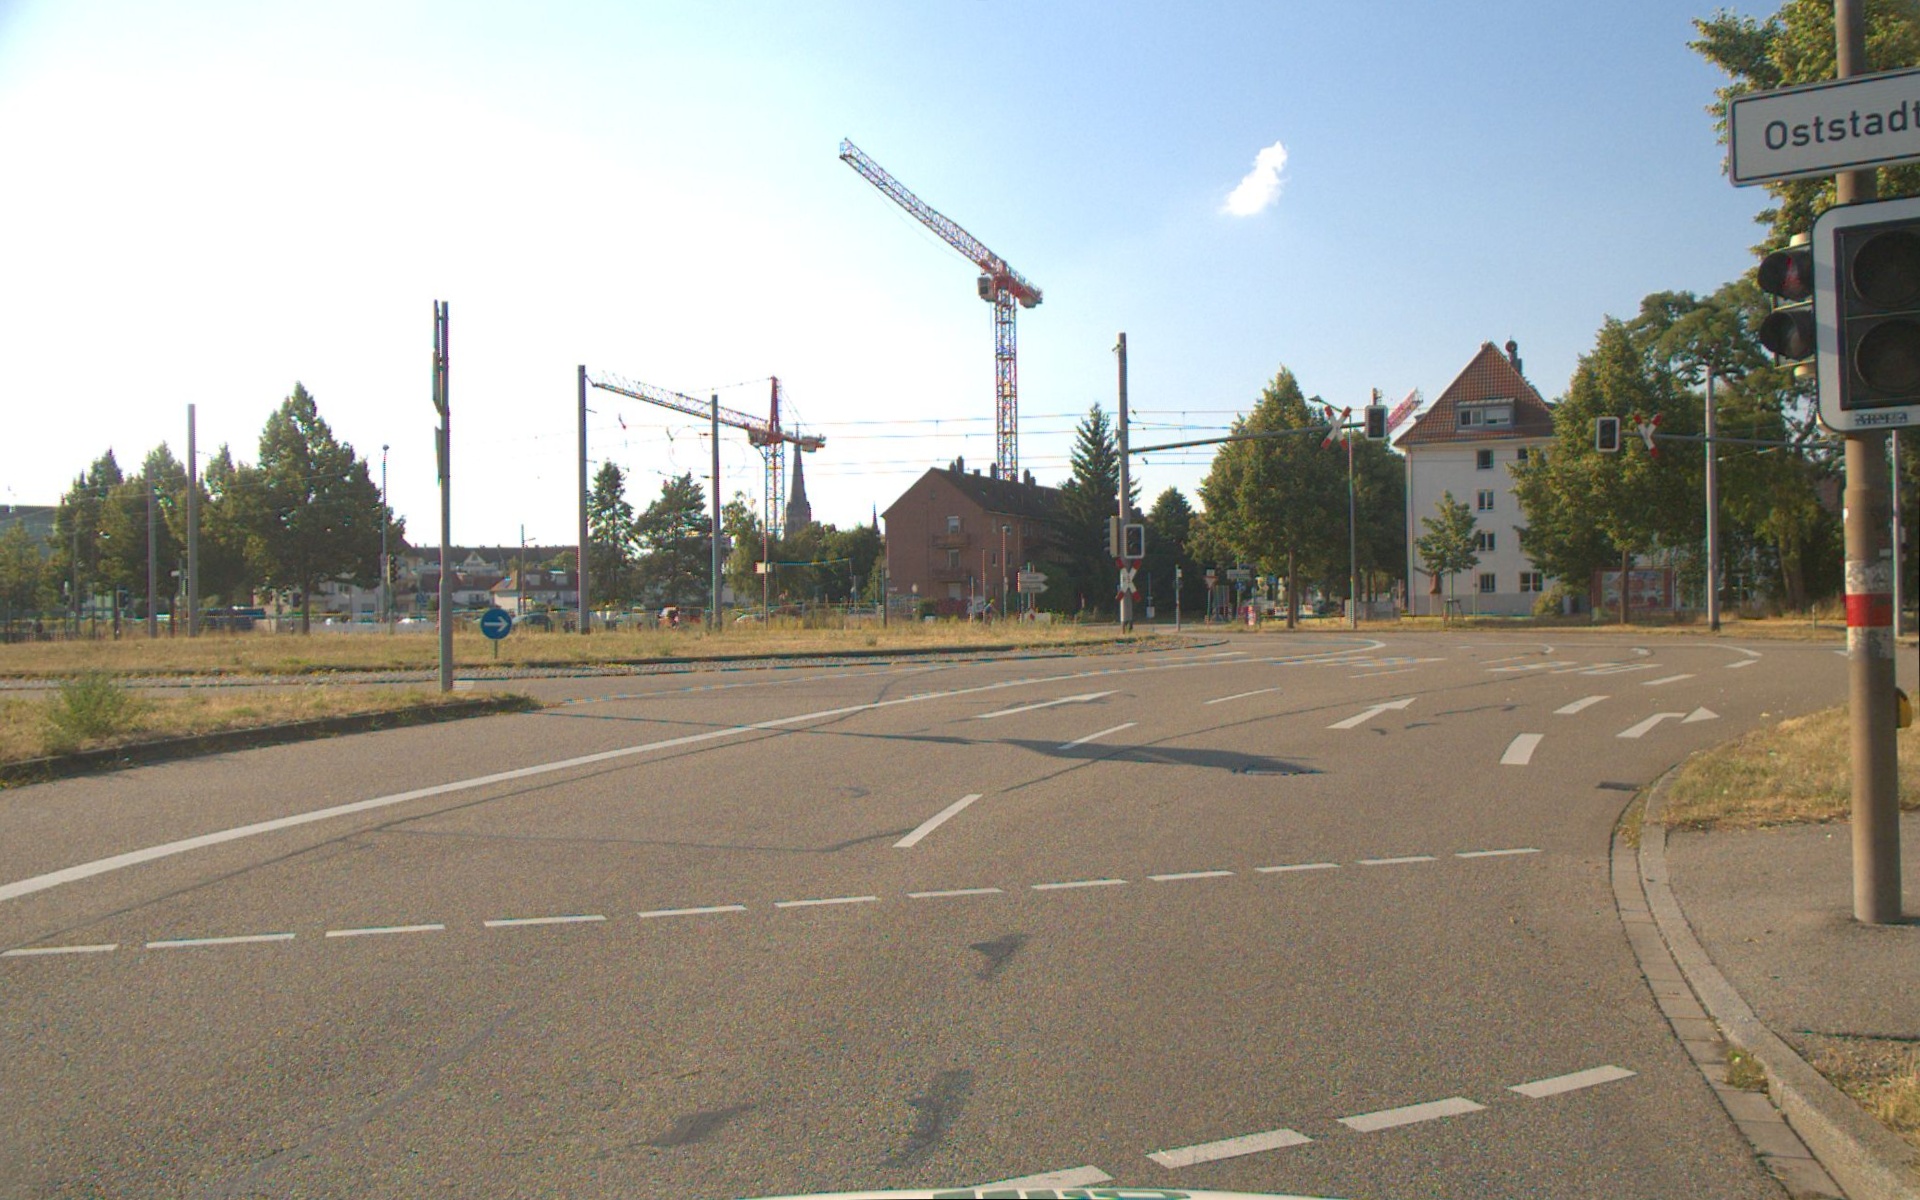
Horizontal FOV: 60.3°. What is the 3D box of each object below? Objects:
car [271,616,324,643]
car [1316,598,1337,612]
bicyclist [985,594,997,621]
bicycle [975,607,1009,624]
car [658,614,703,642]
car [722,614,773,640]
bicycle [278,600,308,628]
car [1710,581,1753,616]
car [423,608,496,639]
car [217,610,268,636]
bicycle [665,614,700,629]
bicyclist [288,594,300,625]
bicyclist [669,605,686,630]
[{"bbox_3d":[-52.066,2.296,129.972,3.917,2.049,1.994,-1,0,34],"label":"car"},{"bbox_3d":[36.317,0.466,164.001,1.426,1.323,3.547,-1,0,23],"label":"car"},{"bbox_3d":[1.788,0.436,95.341,0.610,1.537,0.418,-1,0,-6],"label":"bicyclist"},{"bbox_3d":[1.836,0.918,95.345,1.949,0.934,0.429,-1,0,-7],"label":"bicycle"},{"bbox_3d":[-19.604,1.961,115.778,1.899,1.886,3.961,-1,0,-29],"label":"car"},{"bbox_3d":[-16.966,2.171,132.123,3.728,2.049,1.673,-1,-1,18],"label":"car"},{"bbox_3d":[-36.906,0.768,91.509,1.518,1.499,0.476,-1,0,-22],"label":"bicycle"},{"bbox_3d":[38.570,-0.072,82.651,1.737,1.646,3.963,-1,-1,27],"label":"car"},{"bbox_3d":[-31.151,1.463,102.979,3.950,1.847,1.977,-1,0,-33],"label":"car"},{"bbox_3d":[-58.477,1.911,134.845,3.917,2.049,1.994,-1,0,34],"label":"car"},{"bbox_3d":[-16.155,1.269,96.367,1.949,0.839,0.429,-1,0,-7],"label":"bicycle"},{"bbox_3d":[-36.877,0.521,91.529,0.598,1.701,0.475,-1,-1,-22],"label":"bicyclist"},{"bbox_3d":[-16.462,1.003,96.405,0.880,1.421,0.525,-1,0,-6],"label":"bicyclist"}]
